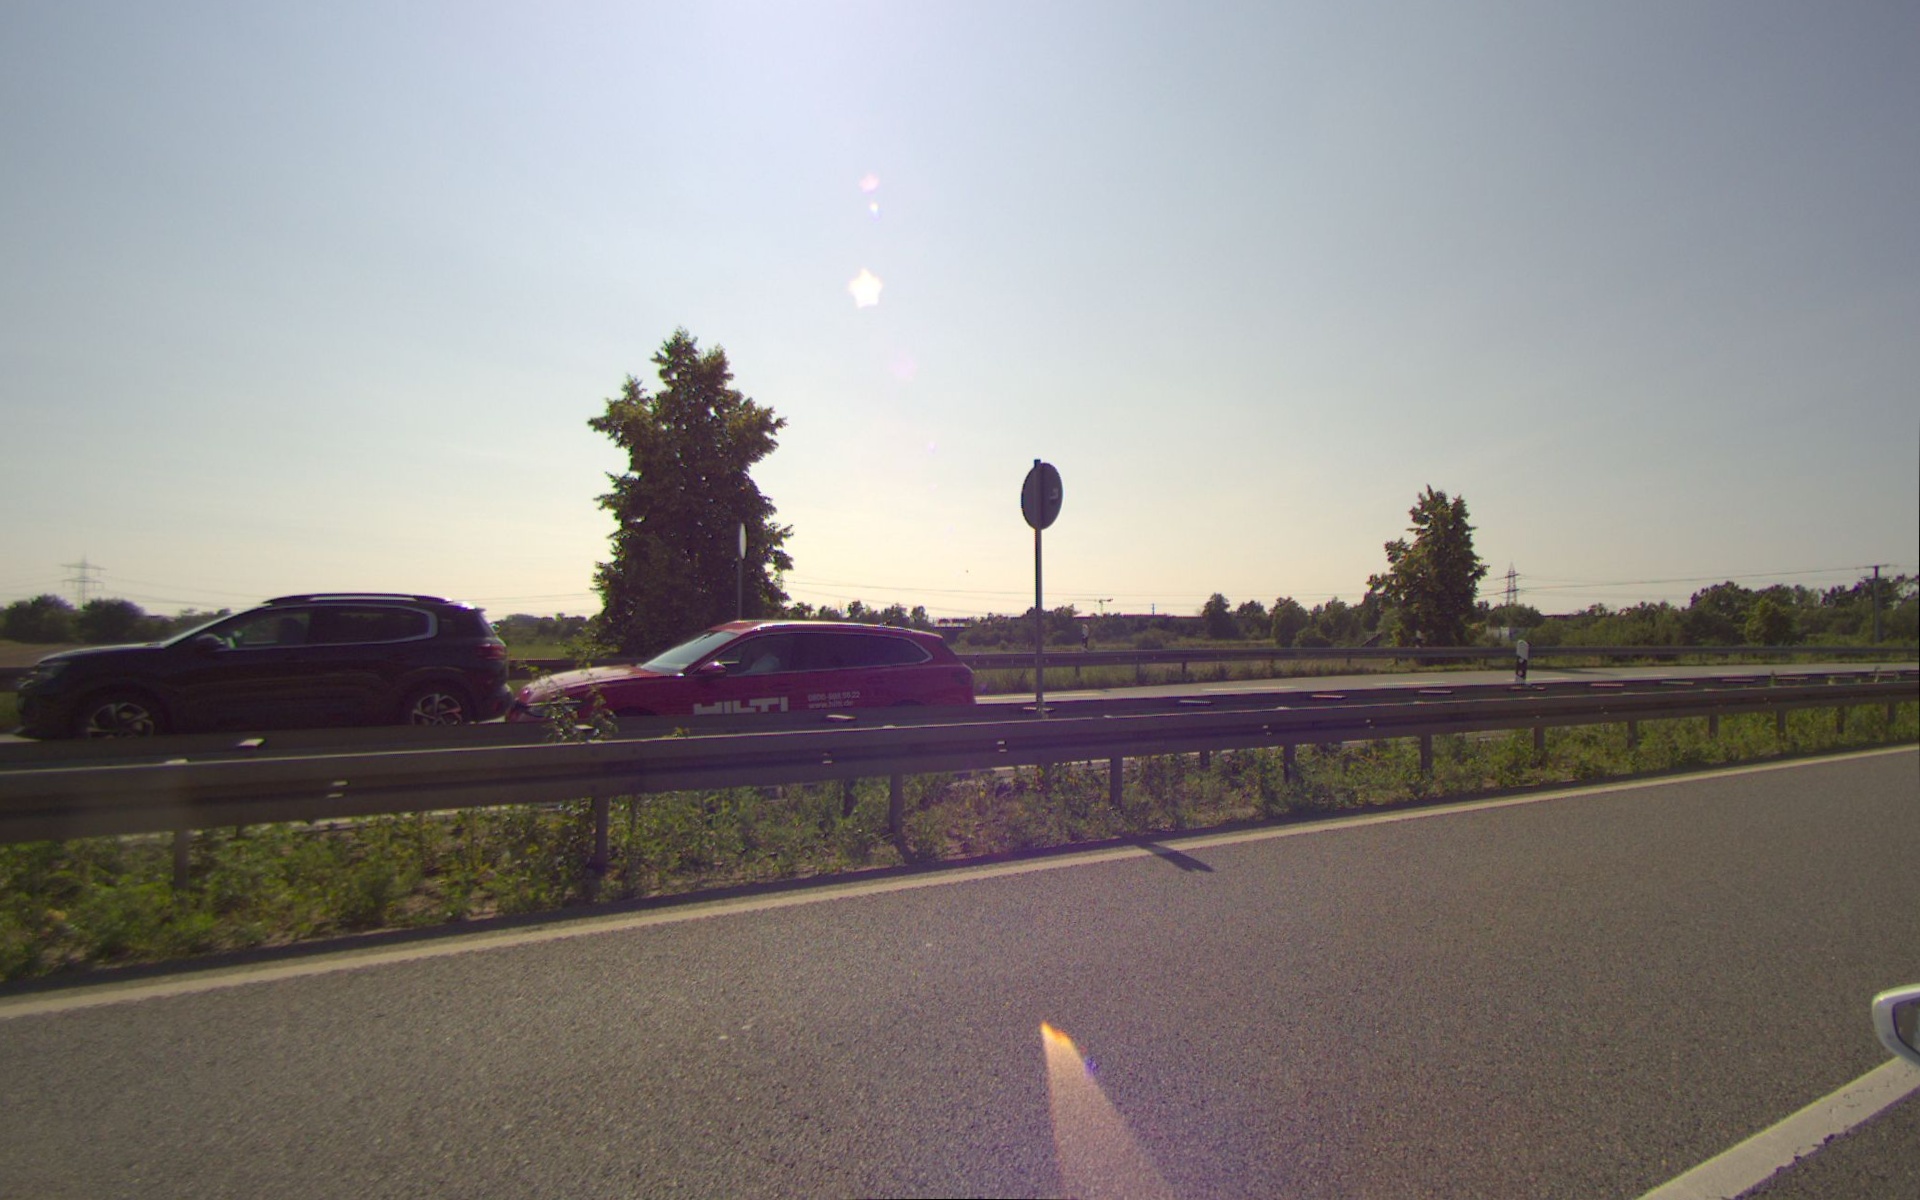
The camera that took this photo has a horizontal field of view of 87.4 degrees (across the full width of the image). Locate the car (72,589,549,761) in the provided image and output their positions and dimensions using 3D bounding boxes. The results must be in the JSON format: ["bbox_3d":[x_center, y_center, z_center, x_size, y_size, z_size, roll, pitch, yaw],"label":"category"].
[{"bbox_3d":[-6.965,0.750,11.265,4.171,1.617,1.718,1,-1,-30],"label":"car"}]

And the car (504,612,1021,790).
[{"bbox_3d":[-1.967,0.921,10.614,5.035,1.513,1.867,1,-1,-30],"label":"car"}]
